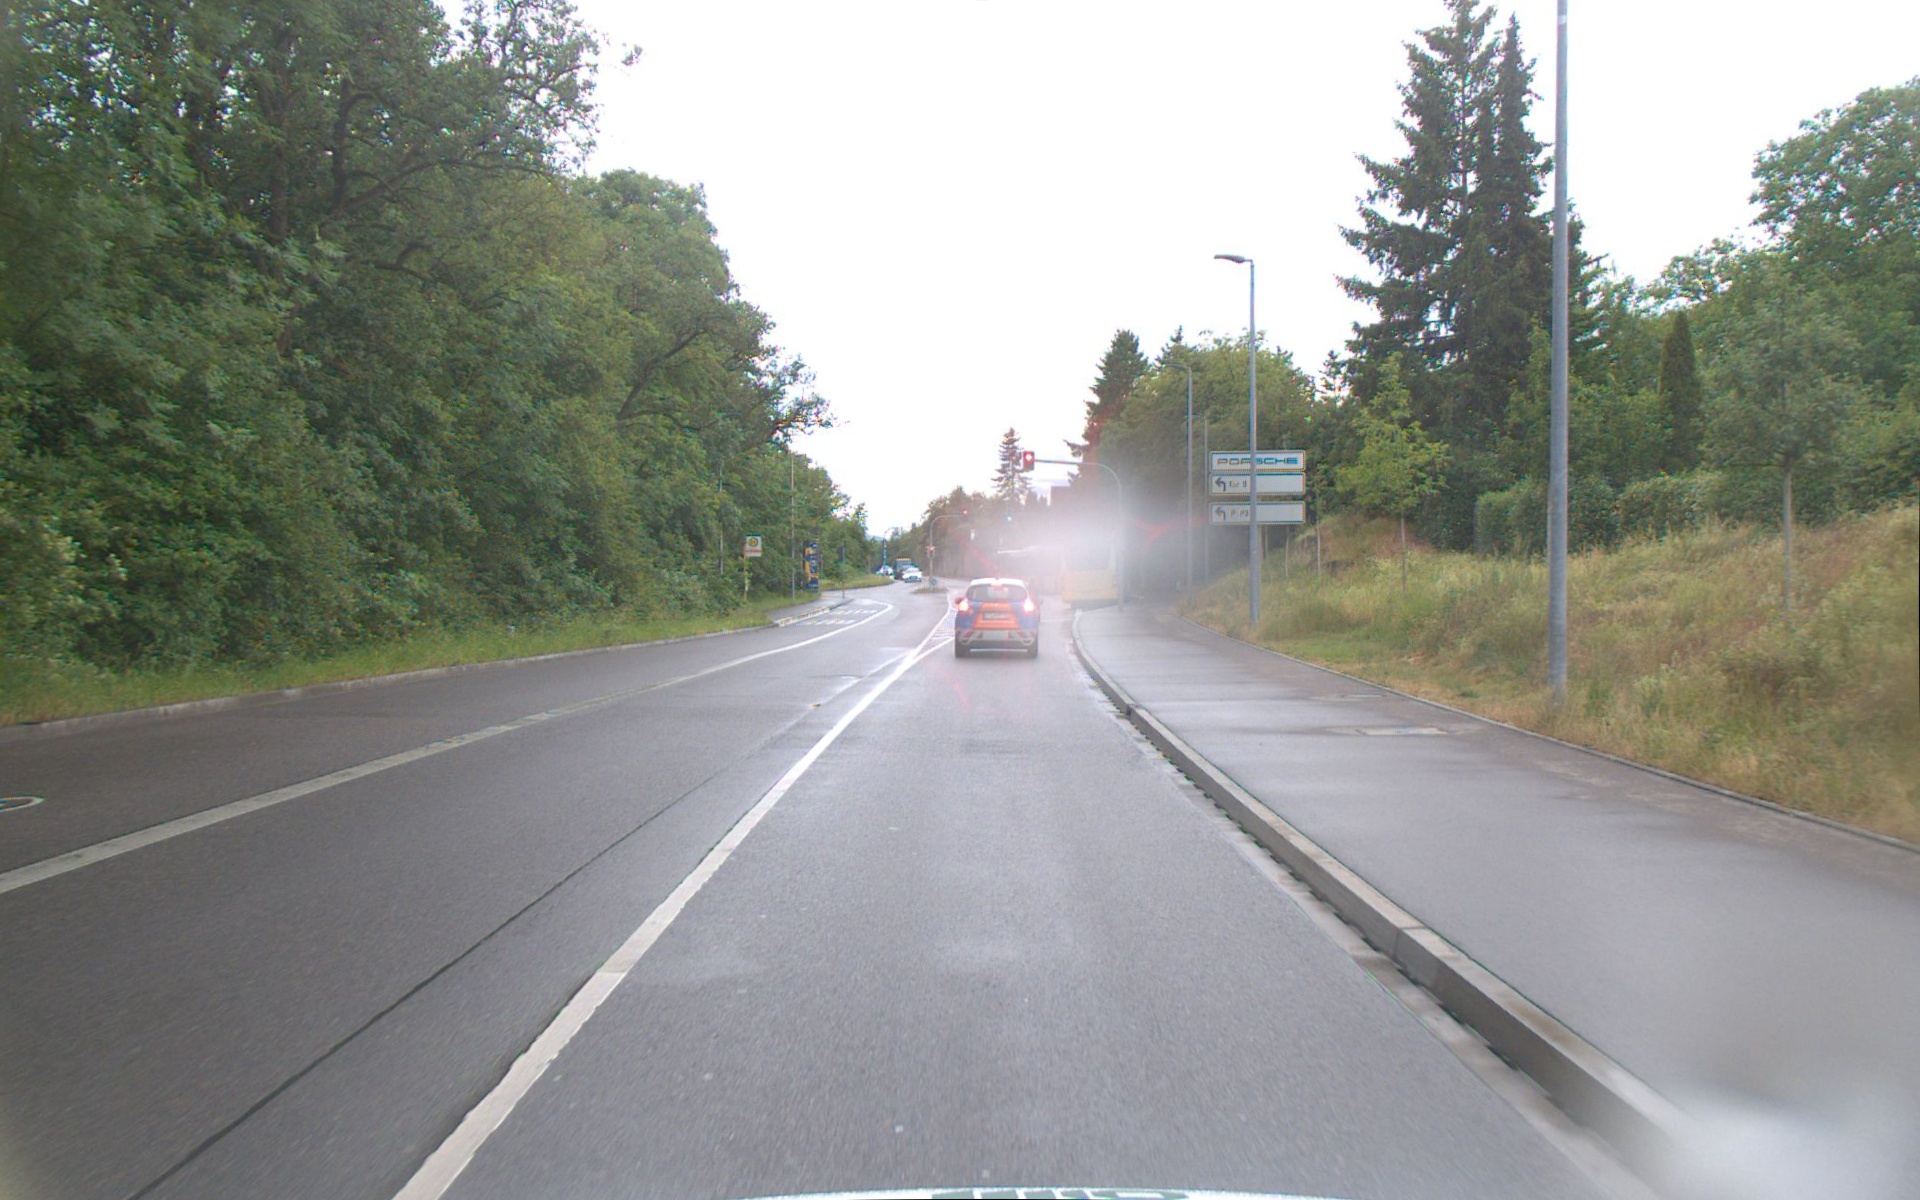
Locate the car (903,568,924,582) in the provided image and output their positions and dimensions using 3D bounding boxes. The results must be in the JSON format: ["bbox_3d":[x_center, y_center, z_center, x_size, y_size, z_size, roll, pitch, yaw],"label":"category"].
[{"bbox_3d":[-5.005,-2.629,177.185,1.954,1.445,3.996,1,0,-5],"label":"car"}]

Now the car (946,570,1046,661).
[{"bbox_3d":[0.727,0.273,34.616,1.952,1.718,4.001,-1,2,0],"label":"car"}]

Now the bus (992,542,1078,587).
[{"bbox_3d":[5.014,-2.368,113.293,2.770,2.855,10.597,1,0,-15],"label":"bus"}]

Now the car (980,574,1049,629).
[{"bbox_3d":[1.600,0.011,49.509,1.888,1.512,3.800,-1,2,0],"label":"car"}]

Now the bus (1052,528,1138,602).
[{"bbox_3d":[6.399,-1.539,77.016,2.757,3.197,9.188,1,0,12],"label":"bus"}]
